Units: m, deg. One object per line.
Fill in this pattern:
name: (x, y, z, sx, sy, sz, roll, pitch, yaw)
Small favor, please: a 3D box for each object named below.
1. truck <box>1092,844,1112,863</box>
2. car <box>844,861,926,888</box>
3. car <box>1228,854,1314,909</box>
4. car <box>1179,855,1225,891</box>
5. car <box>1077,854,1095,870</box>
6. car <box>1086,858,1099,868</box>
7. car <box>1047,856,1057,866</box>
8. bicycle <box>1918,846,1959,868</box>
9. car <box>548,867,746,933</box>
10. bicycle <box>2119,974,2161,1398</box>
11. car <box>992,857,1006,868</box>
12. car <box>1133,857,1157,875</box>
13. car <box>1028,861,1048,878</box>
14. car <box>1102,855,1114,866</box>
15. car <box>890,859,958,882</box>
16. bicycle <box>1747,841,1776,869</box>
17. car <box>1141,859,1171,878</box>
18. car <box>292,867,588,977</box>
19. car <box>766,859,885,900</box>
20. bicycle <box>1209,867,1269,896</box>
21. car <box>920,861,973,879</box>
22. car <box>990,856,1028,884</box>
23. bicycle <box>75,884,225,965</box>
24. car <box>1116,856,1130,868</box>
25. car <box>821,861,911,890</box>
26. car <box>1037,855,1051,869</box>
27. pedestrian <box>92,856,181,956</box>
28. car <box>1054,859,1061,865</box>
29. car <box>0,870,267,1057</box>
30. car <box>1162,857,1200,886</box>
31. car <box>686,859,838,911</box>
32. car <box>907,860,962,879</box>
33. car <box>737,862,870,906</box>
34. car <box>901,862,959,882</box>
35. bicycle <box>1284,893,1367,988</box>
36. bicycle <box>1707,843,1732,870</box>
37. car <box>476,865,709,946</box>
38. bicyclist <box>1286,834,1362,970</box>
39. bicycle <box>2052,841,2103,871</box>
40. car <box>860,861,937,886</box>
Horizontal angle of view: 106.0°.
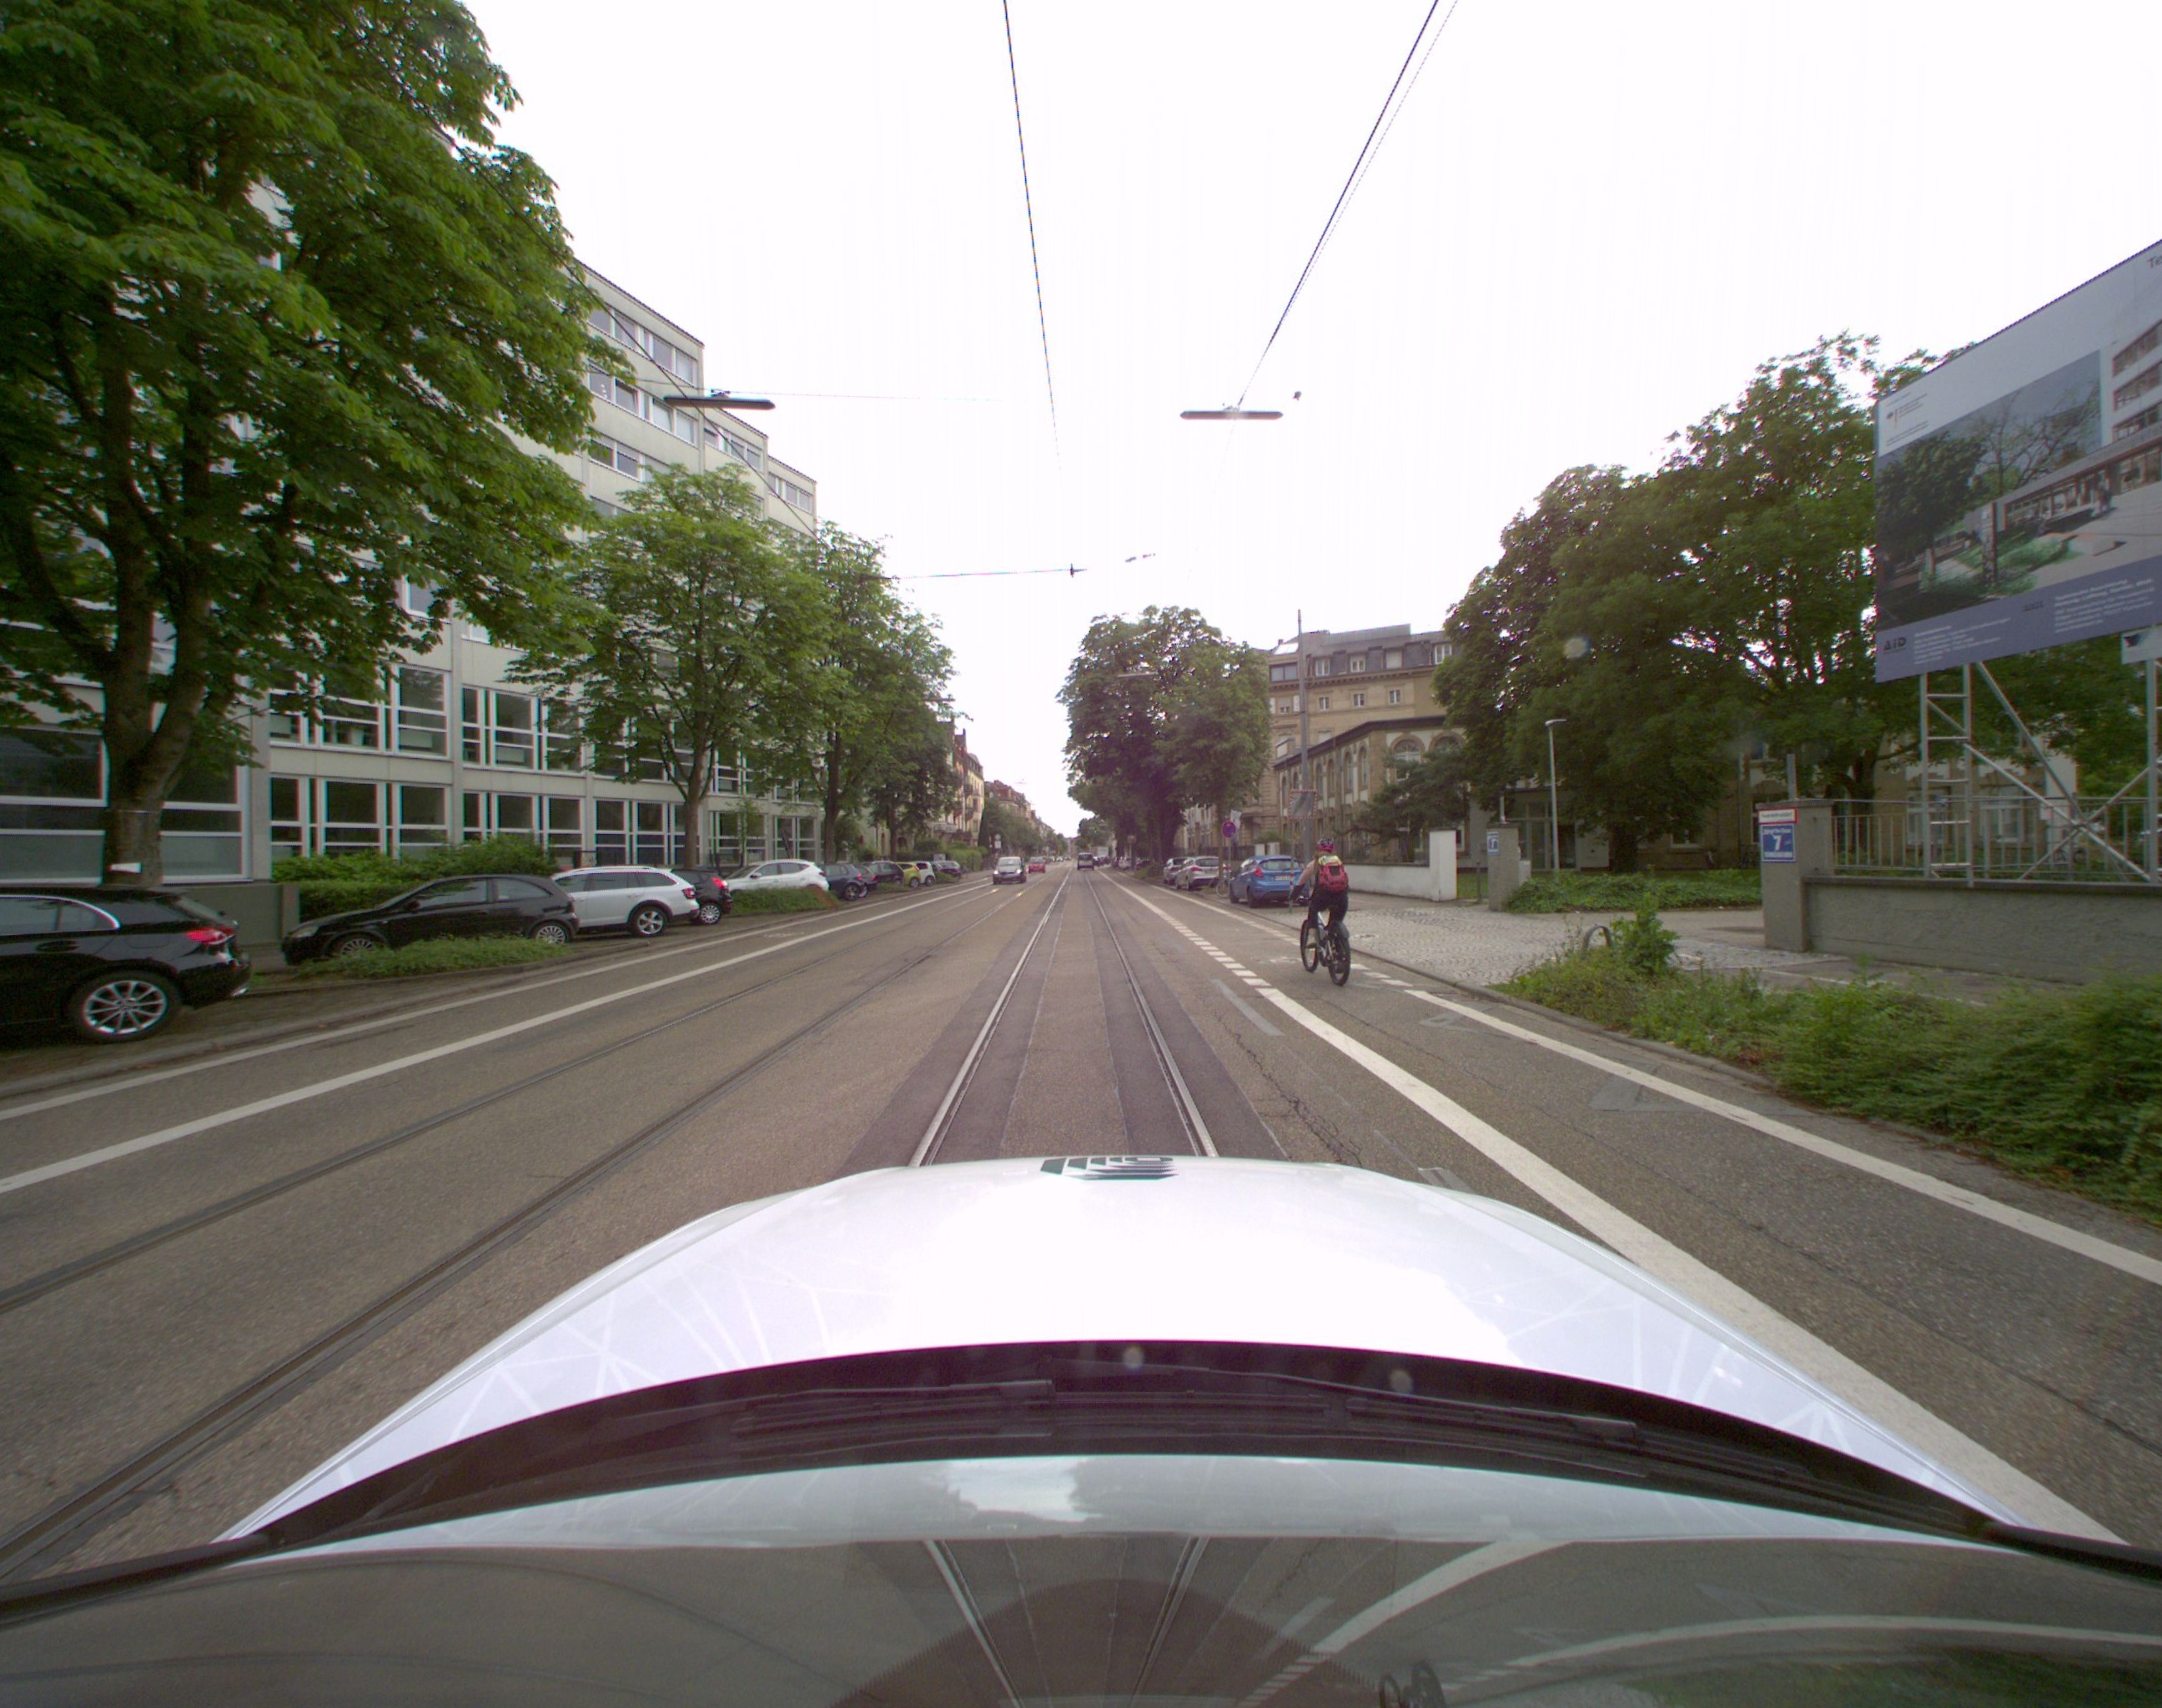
truck: (4.780, -0.086, 189.454, 3.799, 4.029, 10.205, -1, 0, -3)
car: (-10.395, 1.057, 43.332, 1.679, 1.352, 3.992, 0, 0, 44)
car: (5.464, 0.748, 23.809, 1.669, 1.460, 3.431, 0, 0, -1)
car: (5.267, 0.806, 35.725, 1.471, 1.481, 3.564, 0, 0, -1)
car: (0.556, 0.847, 88.626, 1.804, 1.708, 3.701, 0, -1, 2)
car: (1.669, 1.360, 119.856, 1.763, 1.399, 3.797, -2, 0, 2)
car: (-6.950, 1.712, 198.110, 2.198, 2.255, 3.999, -2, 0, 0)
bicycle: (33.056, 0.105, 31.418, 0.611, 0.813, 1.957, -2, 0, 33)
car: (-10.551, 1.047, 19.941, 4.048, 1.405, 1.680, 0, 0, -38)
bicycle: (3.227, 0.898, 1.337, 0.662, 1.117, 1.865, 1, 0, -1)
car: (-15.956, 1.643, 159.075, 2.170, 2.207, 4.219, -2, 0, 1)
car: (5.117, 0.946, 65.490, 1.784, 1.399, 3.797, -2, 0, 2)
car: (-3.992, 1.429, 76.505, 1.670, 1.522, 2.782, 0, -1, 1)
car: (4.463, 1.010, 134.591, 1.986, 1.794, 4.001, -2, 0, 1)
car: (-9.866, 1.029, 51.418, 1.679, 1.352, 3.992, 0, 0, 44)
bicycle: (28.232, 0.014, 33.807, 0.611, 1.119, 2.235, -2, 0, 33)
car: (5.223, 1.003, 57.427, 1.866, 1.251, 4.002, -2, 0, 2)
car: (-10.597, 1.013, 13.626, 3.727, 1.524, 1.679, 0, 0, -45)
car: (-10.408, 0.988, 33.427, 1.679, 1.535, 4.372, 0, 0, 44)
bicycle: (5.548, 0.950, 28.602, 2.008, 0.957, 0.533, -1, 0, -4)
car: (-10.422, 1.220, 63.073, 3.725, 1.386, 1.686, 0, 0, -25)
car: (-4.228, 0.916, 48.547, 1.894, 1.530, 3.753, -3, 0, -1)
bicycle: (-15.731, 1.154, 13.814, 0.401, 1.268, 1.604, -1, -2, 23)
car: (5.365, 1.013, 104.651, 1.763, 1.399, 3.797, -2, 0, 2)
car: (-10.492, 1.018, 39.898, 1.679, 1.352, 3.992, 0, 0, 44)
car: (-7.037, 1.486, 153.947, 2.195, 2.417, 4.004, -2, 0, 4)
pedestrian: (-15.832, 0.846, 13.663, 0.746, 1.612, 0.738, 0, -2, 24)
car: (-6.718, 2.372, 235.583, 1.765, 1.643, 3.569, -2, 0, 4)
car: (-9.819, 0.932, 7.173, 3.727, 1.524, 1.679, 0, 0, -45)
car: (5.226, 0.875, 42.879, 1.471, 1.429, 3.564, -1, 0, -1)
car: (-10.427, 0.964, 26.887, 1.678, 1.556, 4.373, 0, 0, 41)
car: (-10.747, 1.134, 59.839, 3.725, 1.386, 1.686, 0, 0, -25)
car: (-10.191, 1.051, 30.164, 1.679, 1.454, 4.372, 0, 0, 44)
car: (-10.584, 1.228, 56.971, 3.725, 1.386, 1.686, 0, 0, -25)
bicycle: (3.055, 1.035, 10.358, 0.488, 0.979, 2.058, 0, 0, 1)
bicycle: (27.063, 0.084, 34.538, 0.611, 1.119, 2.235, -2, 0, 33)
car: (-10.229, 0.988, 17.211, 4.048, 1.484, 1.680, 0, 0, -38)
bicyclist: (3.006, 0.570, 10.160, 0.655, 1.610, 0.920, -1, 0, 1)
bicycle: (36.456, 0.077, 29.820, 0.391, 1.065, 1.839, -1, 0, 25)
car: (-10.332, 1.090, 46.240, 1.679, 1.352, 3.992, 0, 0, 44)
